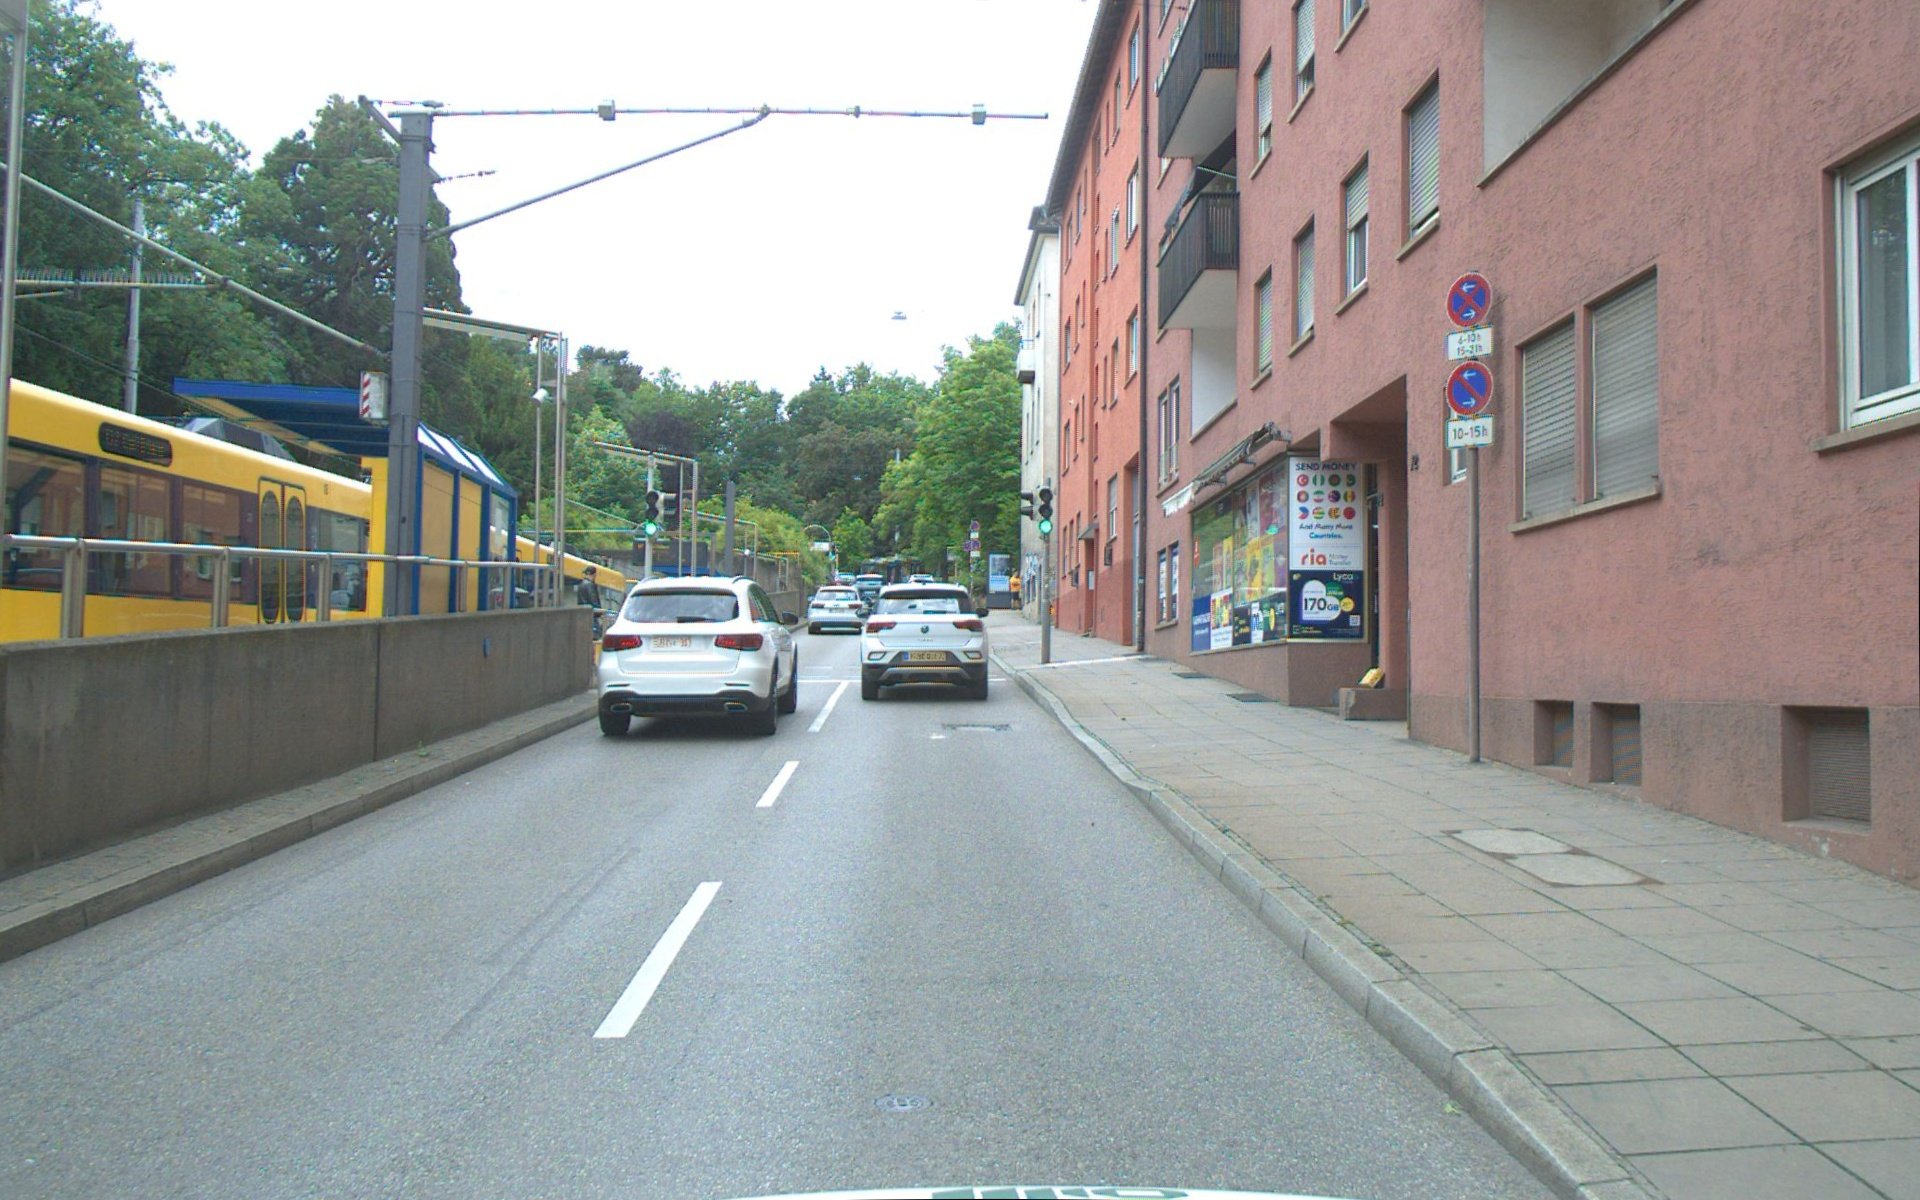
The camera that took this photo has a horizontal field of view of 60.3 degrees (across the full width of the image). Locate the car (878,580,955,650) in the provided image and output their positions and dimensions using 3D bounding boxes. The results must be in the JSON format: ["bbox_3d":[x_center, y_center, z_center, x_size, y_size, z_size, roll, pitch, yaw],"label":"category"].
[{"bbox_3d":[-1.076,0.347,41.531,1.823,1.660,3.958,1,0,-1],"label":"car"}]

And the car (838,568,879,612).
[{"bbox_3d":[-4.705,-0.477,77.015,1.714,1.914,3.999,2,1,-2],"label":"car"}]

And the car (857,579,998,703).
[{"bbox_3d":[-0.426,0.519,23.571,1.826,1.583,3.894,1,0,0],"label":"car"}]

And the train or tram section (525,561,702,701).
[{"bbox_3d":[-9.858,0.924,48.754,2.890,3.570,12.980,0,-1,-2],"label":"train or tram section"}]

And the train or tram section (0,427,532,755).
[{"bbox_3d":[-9.129,0.220,23.964,2.889,3.533,12.212,0,-3,-1],"label":"train or tram section"}]

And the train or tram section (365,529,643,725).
[{"bbox_3d":[-9.446,0.677,36.133,2.889,3.545,12.213,0,-2,-1],"label":"train or tram section"}]

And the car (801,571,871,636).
[{"bbox_3d":[-3.857,0.080,52.066,1.953,1.914,3.999,2,1,-2],"label":"car"}]

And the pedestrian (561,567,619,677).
[{"bbox_3d":[-6.199,0.365,27.748,0.784,1.808,0.818,1,0,-2],"label":"pedestrian"}]

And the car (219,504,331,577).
[{"bbox_3d":[-21.536,-1.827,52.148,1.954,2.049,3.997,3,-1,-3],"label":"car"}]

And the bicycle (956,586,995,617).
[{"bbox_3d":[0.612,0.056,65.367,0.631,1.163,2.047,-6,3,-26],"label":"bicycle"}]

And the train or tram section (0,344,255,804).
[{"bbox_3d":[-8.956,-0.265,11.603,2.889,3.606,12.393,1,-2,-1],"label":"train or tram section"}]

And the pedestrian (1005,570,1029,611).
[{"bbox_3d":[2.481,-0.418,72.484,0.819,1.742,0.818,-1,0,-15],"label":"pedestrian"}]

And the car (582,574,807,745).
[{"bbox_3d":[-2.841,0.575,18.649,1.838,1.681,4.341,0,0,0],"label":"car"}]
